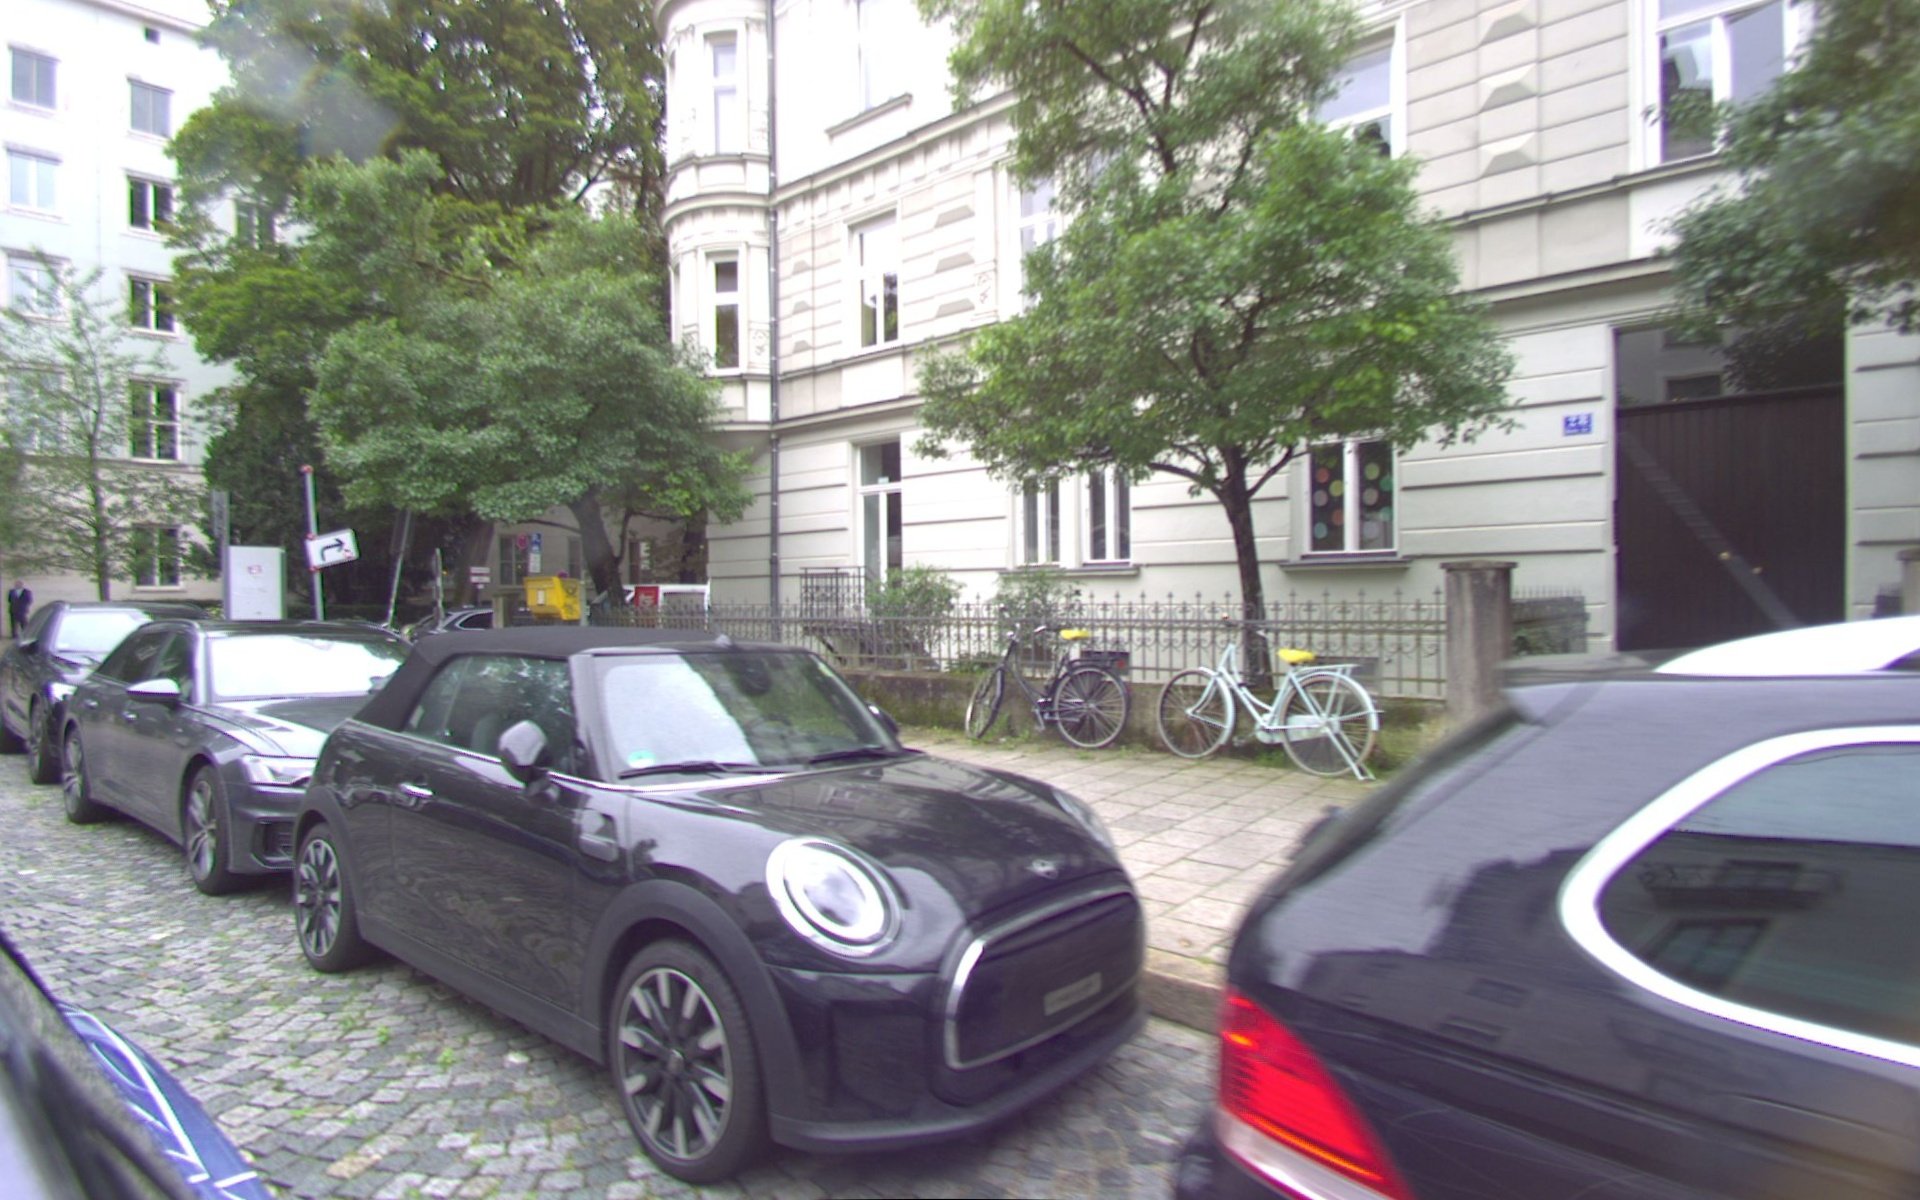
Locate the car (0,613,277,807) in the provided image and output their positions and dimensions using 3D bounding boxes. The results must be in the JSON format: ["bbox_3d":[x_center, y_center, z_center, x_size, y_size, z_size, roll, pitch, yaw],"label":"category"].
[{"bbox_3d":[-8.727,0.949,10.381,4.278,1.594,1.722,-1,-2,40],"label":"car"}]

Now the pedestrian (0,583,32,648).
[{"bbox_3d":[-28.423,0.456,30.445,0.656,1.930,0.864,-3,1,-41],"label":"pedestrian"}]

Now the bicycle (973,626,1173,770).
[{"bbox_3d":[0.917,0.776,8.548,1.694,1.059,0.458,0,3,41],"label":"bicycle"}]

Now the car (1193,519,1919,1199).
[{"bbox_3d":[2.568,0.677,0.489,4.510,1.510,1.791,-1,-2,43],"label":"car"}]

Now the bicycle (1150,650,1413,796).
[{"bbox_3d":[2.295,0.844,7.390,1.789,0.879,0.434,0,3,41],"label":"bicycle"}]

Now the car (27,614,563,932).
[{"bbox_3d":[-4.642,0.865,6.823,4.275,1.510,1.723,-1,-2,38],"label":"car"}]

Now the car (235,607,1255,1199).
[{"bbox_3d":[-1.161,0.814,3.979,4.129,1.510,1.722,-1,-2,39],"label":"car"}]
